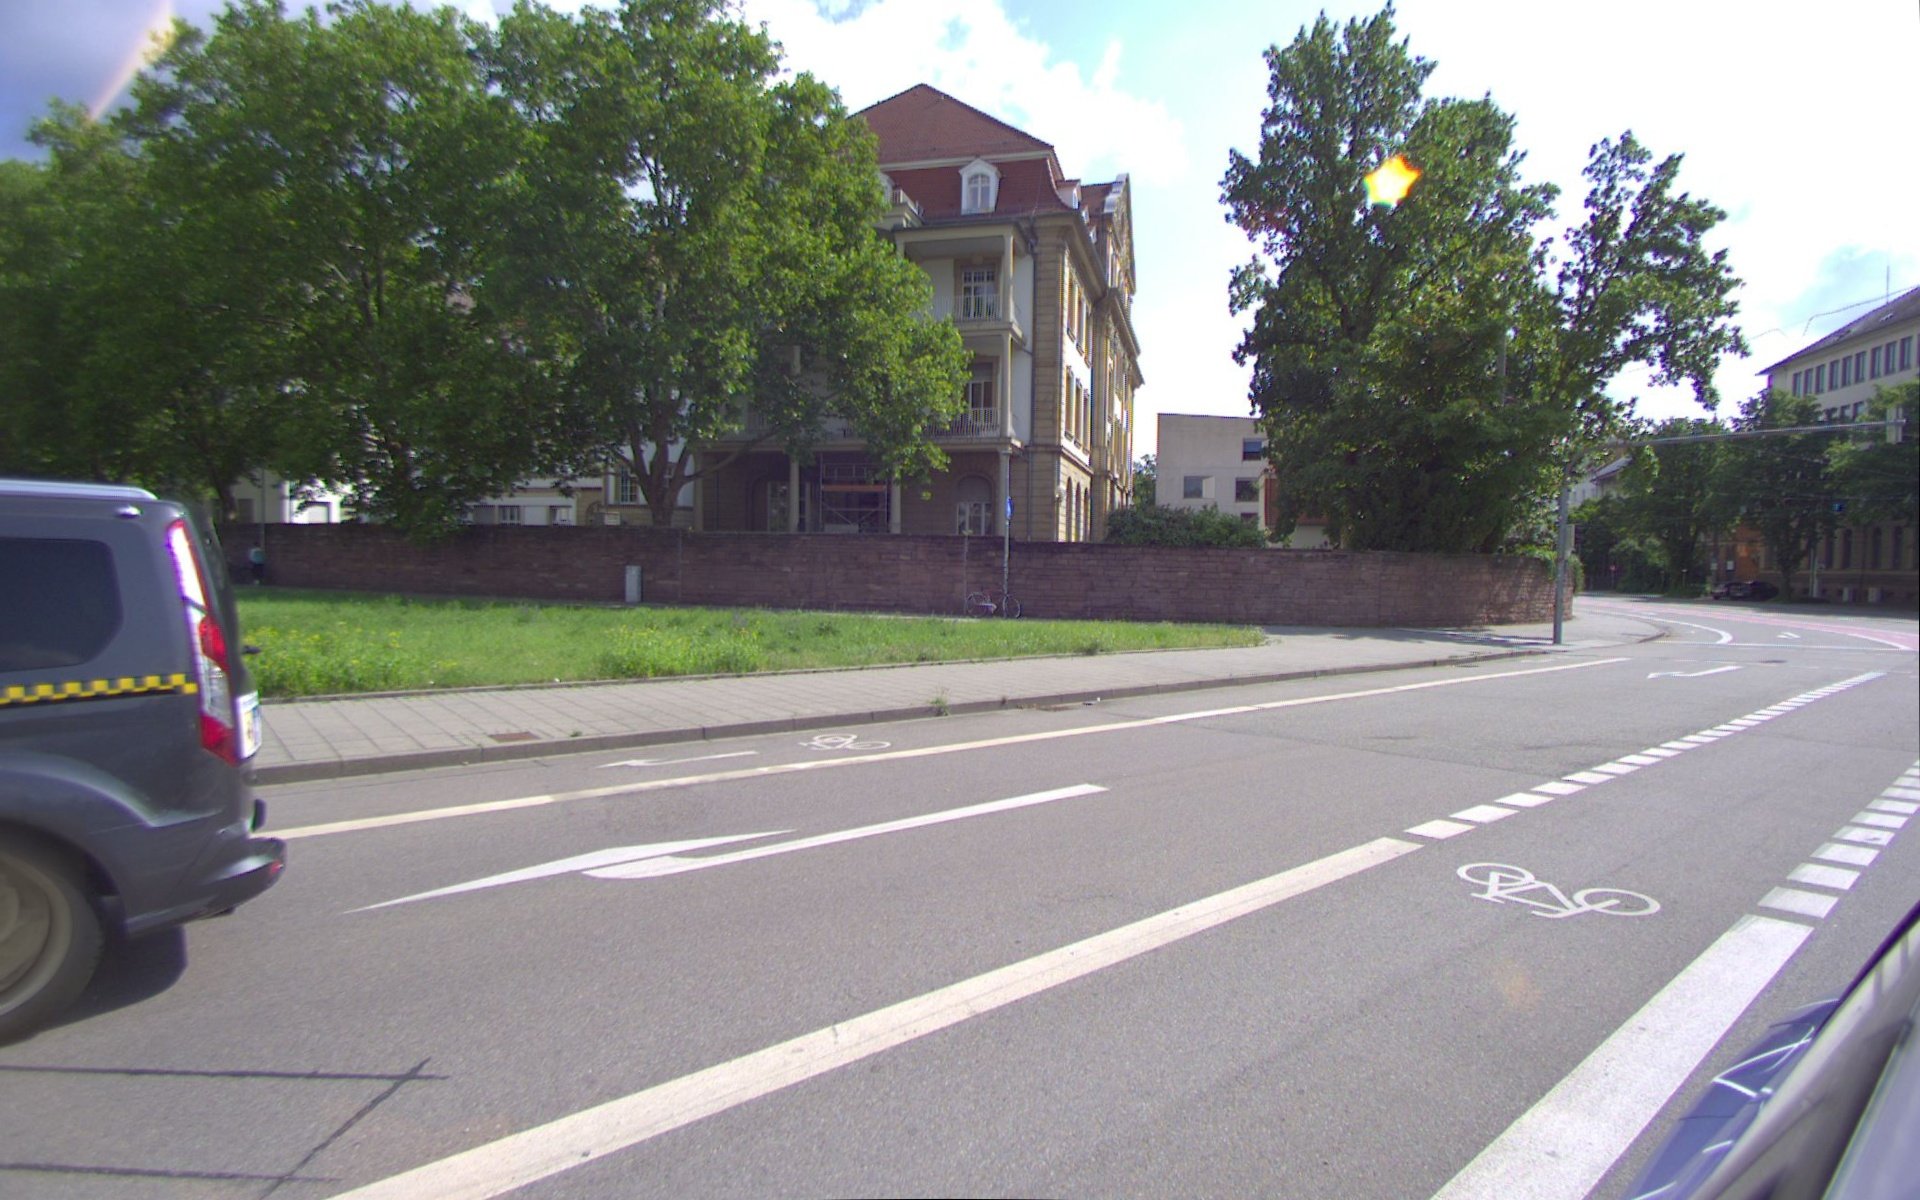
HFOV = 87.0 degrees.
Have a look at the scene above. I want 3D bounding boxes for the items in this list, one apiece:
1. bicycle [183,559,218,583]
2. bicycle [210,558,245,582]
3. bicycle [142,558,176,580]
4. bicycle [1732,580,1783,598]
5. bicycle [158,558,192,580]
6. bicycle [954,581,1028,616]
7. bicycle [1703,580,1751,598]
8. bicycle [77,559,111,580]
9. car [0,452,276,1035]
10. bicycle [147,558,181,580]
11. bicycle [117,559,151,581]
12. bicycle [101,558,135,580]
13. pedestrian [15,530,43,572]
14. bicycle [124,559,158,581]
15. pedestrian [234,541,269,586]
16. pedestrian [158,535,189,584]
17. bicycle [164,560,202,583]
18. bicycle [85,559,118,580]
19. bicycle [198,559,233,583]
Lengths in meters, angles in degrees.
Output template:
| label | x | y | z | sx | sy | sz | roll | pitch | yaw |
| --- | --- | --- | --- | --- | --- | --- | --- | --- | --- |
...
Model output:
| label | x | y | z | sx | sy | sz | roll | pitch | yaw |
| --- | --- | --- | --- | --- | --- | --- | --- | --- | --- |
| bicycle | -28.942 | -1.107 | 38.593 | 0.478 | 0.859 | 0.964 | 2 | 2 | 27 |
| bicycle | -27.288 | -1.106 | 37.701 | 0.478 | 0.859 | 0.964 | 2 | 2 | 27 |
| bicycle | -31.799 | -1.216 | 40.166 | 0.478 | 0.859 | 0.964 | 2 | 2 | 27 |
| bicycle | 61.345 | -0.850 | 77.922 | 1.030 | 1.221 | 2.898 | -4 | 5 | -33 |
| bicycle | -30.669 | -1.215 | 39.541 | 0.478 | 0.859 | 0.964 | 2 | 2 | 27 |
| bicycle | 0.883 | -0.041 | 28.528 | 2.023 | 0.871 | 0.859 | 2 | 4 | 3 |
| bicycle | 61.466 | -0.902 | 81.163 | 1.053 | 1.221 | 2.898 | -4 | 5 | -33 |
| bicycle | -36.511 | -1.282 | 42.669 | 0.478 | 0.859 | 0.964 | 2 | 2 | 27 |
| car | -4.776 | 0.438 | 2.857 | 4.588 | 1.807 | 1.853 | 0 | 1 | -39 |
| bicycle | -31.332 | -1.216 | 39.849 | 0.478 | 0.859 | 0.964 | 2 | 2 | 27 |
| bicycle | -33.465 | -1.214 | 41.013 | 0.478 | 0.859 | 0.964 | 2 | 2 | 27 |
| bicycle | -34.649 | -1.281 | 41.654 | 0.478 | 0.859 | 0.964 | 2 | 2 | 27 |
| pedestrian | -40.653 | -2.143 | 44.207 | 0.871 | 1.802 | 0.770 | 0 | 2 | -40 |
| bicycle | -32.972 | -1.214 | 40.767 | 0.478 | 0.859 | 0.964 | 2 | 2 | 27 |
| pedestrian | -24.971 | -1.281 | 35.673 | 0.716 | 1.552 | 0.720 | 2 | 3 | 24 |
| pedestrian | -28.669 | -1.471 | 36.894 | 0.736 | 1.744 | 0.657 | 3 | 2 | 31 |
| bicycle | -29.988 | -1.093 | 39.080 | 0.495 | 0.859 | 1.064 | 2 | 2 | 27 |
| bicycle | -35.995 | -1.282 | 42.420 | 0.478 | 0.859 | 0.964 | 2 | 2 | 27 |
| bicycle | -27.916 | -1.084 | 37.957 | 0.478 | 0.859 | 0.964 | 2 | 2 | 27 |
